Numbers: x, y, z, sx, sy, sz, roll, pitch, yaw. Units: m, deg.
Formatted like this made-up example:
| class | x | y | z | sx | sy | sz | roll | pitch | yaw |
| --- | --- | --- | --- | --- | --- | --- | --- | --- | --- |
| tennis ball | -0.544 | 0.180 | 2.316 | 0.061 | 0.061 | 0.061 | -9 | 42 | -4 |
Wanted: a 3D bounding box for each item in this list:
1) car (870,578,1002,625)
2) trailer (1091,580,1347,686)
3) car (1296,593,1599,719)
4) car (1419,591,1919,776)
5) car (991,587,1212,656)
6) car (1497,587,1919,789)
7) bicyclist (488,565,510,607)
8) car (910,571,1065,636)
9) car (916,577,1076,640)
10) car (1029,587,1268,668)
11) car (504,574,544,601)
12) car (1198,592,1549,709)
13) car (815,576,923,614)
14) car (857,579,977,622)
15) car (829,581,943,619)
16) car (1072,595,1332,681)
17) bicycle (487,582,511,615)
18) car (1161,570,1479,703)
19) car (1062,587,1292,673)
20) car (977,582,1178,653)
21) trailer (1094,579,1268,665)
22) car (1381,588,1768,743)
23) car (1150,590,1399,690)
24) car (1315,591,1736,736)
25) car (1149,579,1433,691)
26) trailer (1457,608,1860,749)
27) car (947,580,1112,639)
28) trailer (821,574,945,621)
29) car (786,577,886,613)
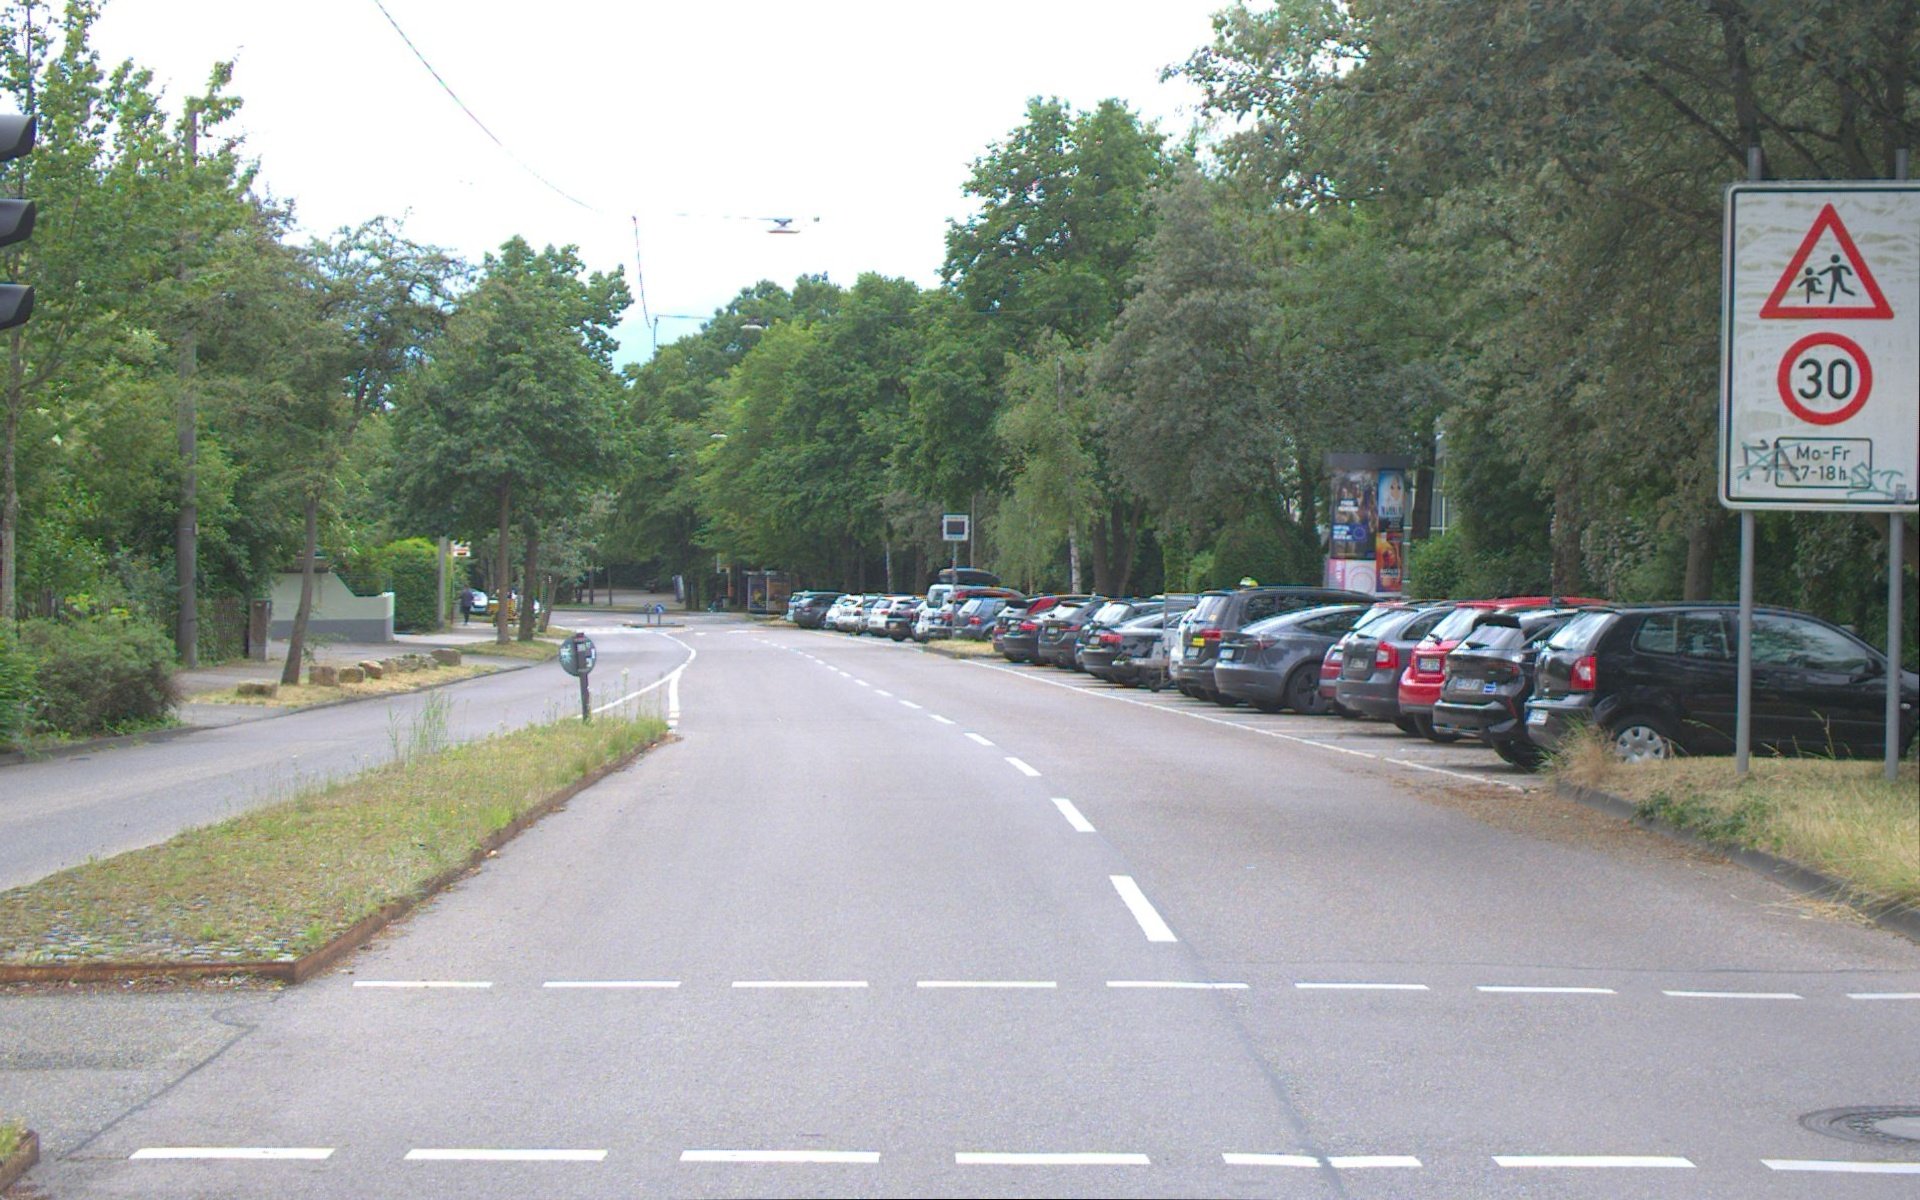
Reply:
| class | x | y | z | sx | sy | sz | roll | pitch | yaw |
| --- | --- | --- | --- | --- | --- | --- | --- | --- | --- |
| car | -0.771 | 0.059 | 112.538 | 3.884 | 1.444 | 1.844 | 1 | 0 | -28 |
| trailer | 4.120 | 0.521 | 54.797 | 3.687 | 1.530 | 1.646 | 2 | 0 | -15 |
| car | 6.027 | 0.688 | 42.641 | 3.325 | 1.459 | 1.635 | 1 | 0 | -14 |
| car | 6.211 | 0.717 | 29.690 | 4.134 | 1.471 | 1.577 | 1 | 0 | -14 |
| car | 2.988 | 0.458 | 72.876 | 4.311 | 1.336 | 1.734 | 1 | 0 | -18 |
| car | 6.336 | 0.697 | 27.463 | 3.715 | 1.471 | 1.577 | 2 | 1 | -6 |
| bicyclist | -18.667 | -0.574 | 139.242 | 0.844 | 1.692 | 0.714 | 1 | 1 | -6 |
| car | 0.798 | 0.106 | 99.121 | 4.086 | 1.748 | 1.787 | 2 | 0 | -31 |
| car | 1.003 | 0.235 | 96.183 | 3.995 | 1.614 | 1.885 | 2 | 0 | -20 |
| car | 3.683 | 0.542 | 67.394 | 4.343 | 1.440 | 1.634 | 1 | 1 | -18 |
| car | -23.800 | -0.690 | 187.494 | 1.866 | 1.466 | 4.001 | 0 | 0 | -11 |
| car | 5.351 | 0.654 | 44.580 | 4.158 | 1.402 | 1.698 | 1 | 0 | -15 |
| car | -3.619 | -0.194 | 136.816 | 3.883 | 1.424 | 1.744 | 1 | 0 | -24 |
| car | -1.544 | 0.013 | 123.704 | 3.884 | 1.444 | 1.744 | 1 | 0 | -25 |
| car | -2.766 | 0.004 | 128.493 | 3.884 | 1.305 | 1.744 | 1 | 0 | -28 |
| car | 4.030 | 0.633 | 57.447 | 4.035 | 1.323 | 1.560 | 1 | 0 | -13 |
| bicycle | -18.679 | -0.068 | 139.290 | 0.844 | 1.262 | 2.652 | 1 | 1 | -6 |
| car | 4.936 | 0.500 | 47.313 | 3.984 | 1.719 | 1.681 | 1 | 0 | -13 |
| car | 3.953 | 0.542 | 62.807 | 3.839 | 1.450 | 1.634 | 1 | 0 | -16 |
| car | 2.597 | 0.383 | 75.701 | 4.070 | 1.510 | 1.734 | 1 | 0 | -26 |
| trailer | 4.192 | 0.419 | 65.345 | 2.985 | 1.537 | 1.303 | 1 | 1 | -17 |
| car | 6.270 | 0.664 | 35.186 | 3.522 | 1.471 | 1.593 | 1 | 0 | -16 |
| car | 4.804 | 0.610 | 52.565 | 3.423 | 1.440 | 1.560 | 1 | 0 | -16 |
| car | 6.182 | 0.694 | 37.721 | 4.218 | 1.459 | 1.635 | 1 | 0 | -13 |
| car | 4.799 | 0.498 | 50.098 | 3.820 | 1.524 | 1.606 | 1 | 0 | -8 |
| trailer | 6.673 | 0.746 | 32.952 | 3.401 | 1.262 | 1.617 | 1 | 0 | -13 |
| car | 1.836 | 0.238 | 90.798 | 3.963 | 1.401 | 1.757 | 2 | 0 | -19 |
| trailer | -2.812 | -0.095 | 125.794 | 4.153 | 1.568 | 1.712 | 2 | 0 | -23 |
| car | -5.290 | -0.220 | 146.722 | 3.883 | 1.424 | 1.744 | 1 | 0 | -24 |
